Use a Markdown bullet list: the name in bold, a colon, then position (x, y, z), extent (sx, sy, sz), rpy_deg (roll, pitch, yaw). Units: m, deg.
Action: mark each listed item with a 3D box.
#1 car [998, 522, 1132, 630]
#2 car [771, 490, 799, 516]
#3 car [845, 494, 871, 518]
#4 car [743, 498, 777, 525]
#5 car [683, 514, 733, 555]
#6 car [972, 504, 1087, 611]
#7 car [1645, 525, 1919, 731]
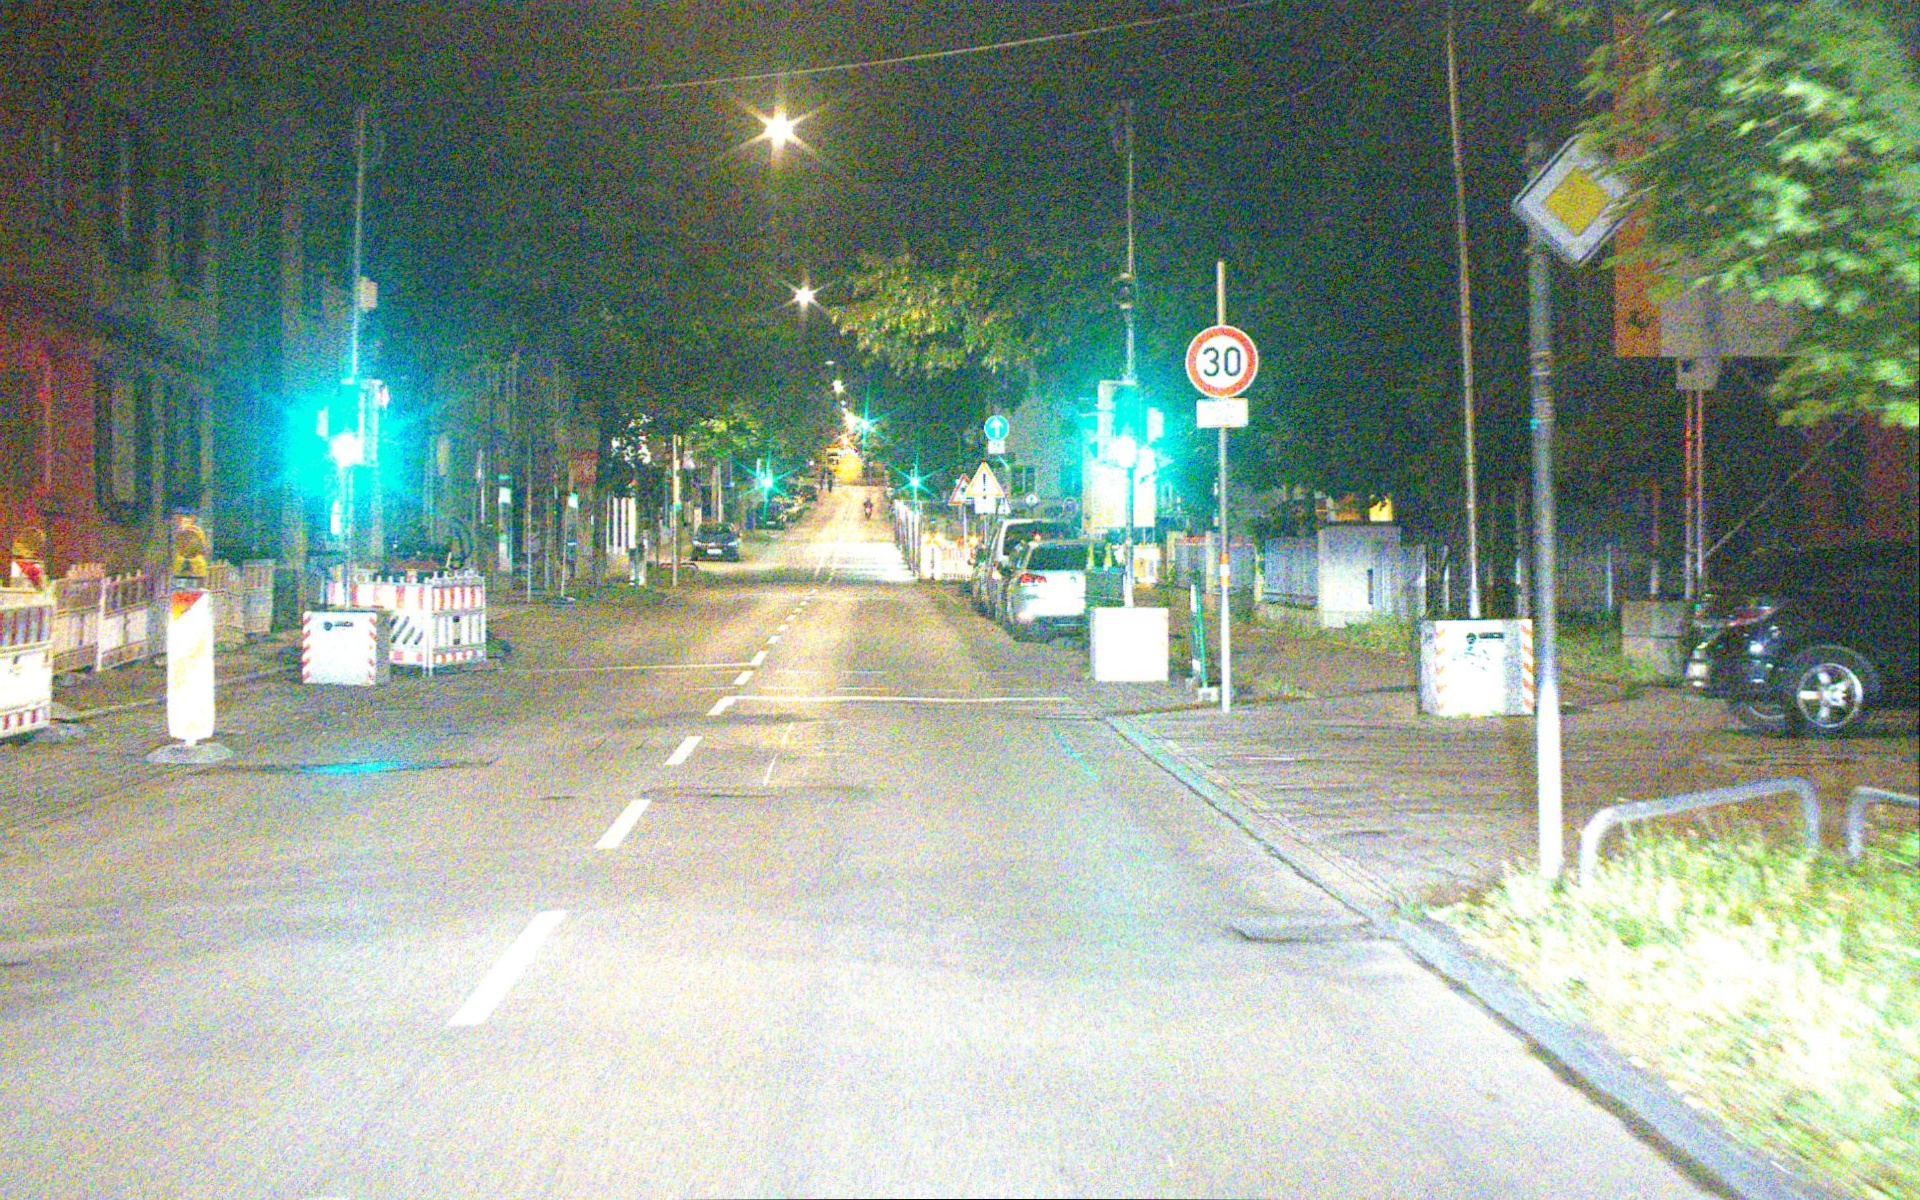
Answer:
- **car**: position (1.525, -0.394, 51.050), extent (1.739, 1.472, 4.000), rpy_deg (-2, 1, -1)
- **car**: position (-12.417, -6.898, 244.530), extent (1.873, 1.808, 4.205), rpy_deg (0, 2, -2)
- **car**: position (-7.538, -6.983, 255.065), extent (1.873, 1.808, 4.205), rpy_deg (0, 2, -1)
- **car**: position (-11.712, -5.198, 201.200), extent (1.873, 1.539, 4.205), rpy_deg (0, 2, -2)
- **car**: position (-9.322, -2.442, 127.278), extent (1.671, 1.438, 4.205), rpy_deg (0, 2, -2)
- **car**: position (1.218, -0.793, 62.155), extent (1.735, 1.848, 4.317), rpy_deg (-1, 1, -3)
- **car**: position (7.152, 0.199, 24.736), extent (4.014, 1.417, 1.852), rpy_deg (0, -1, -3)
